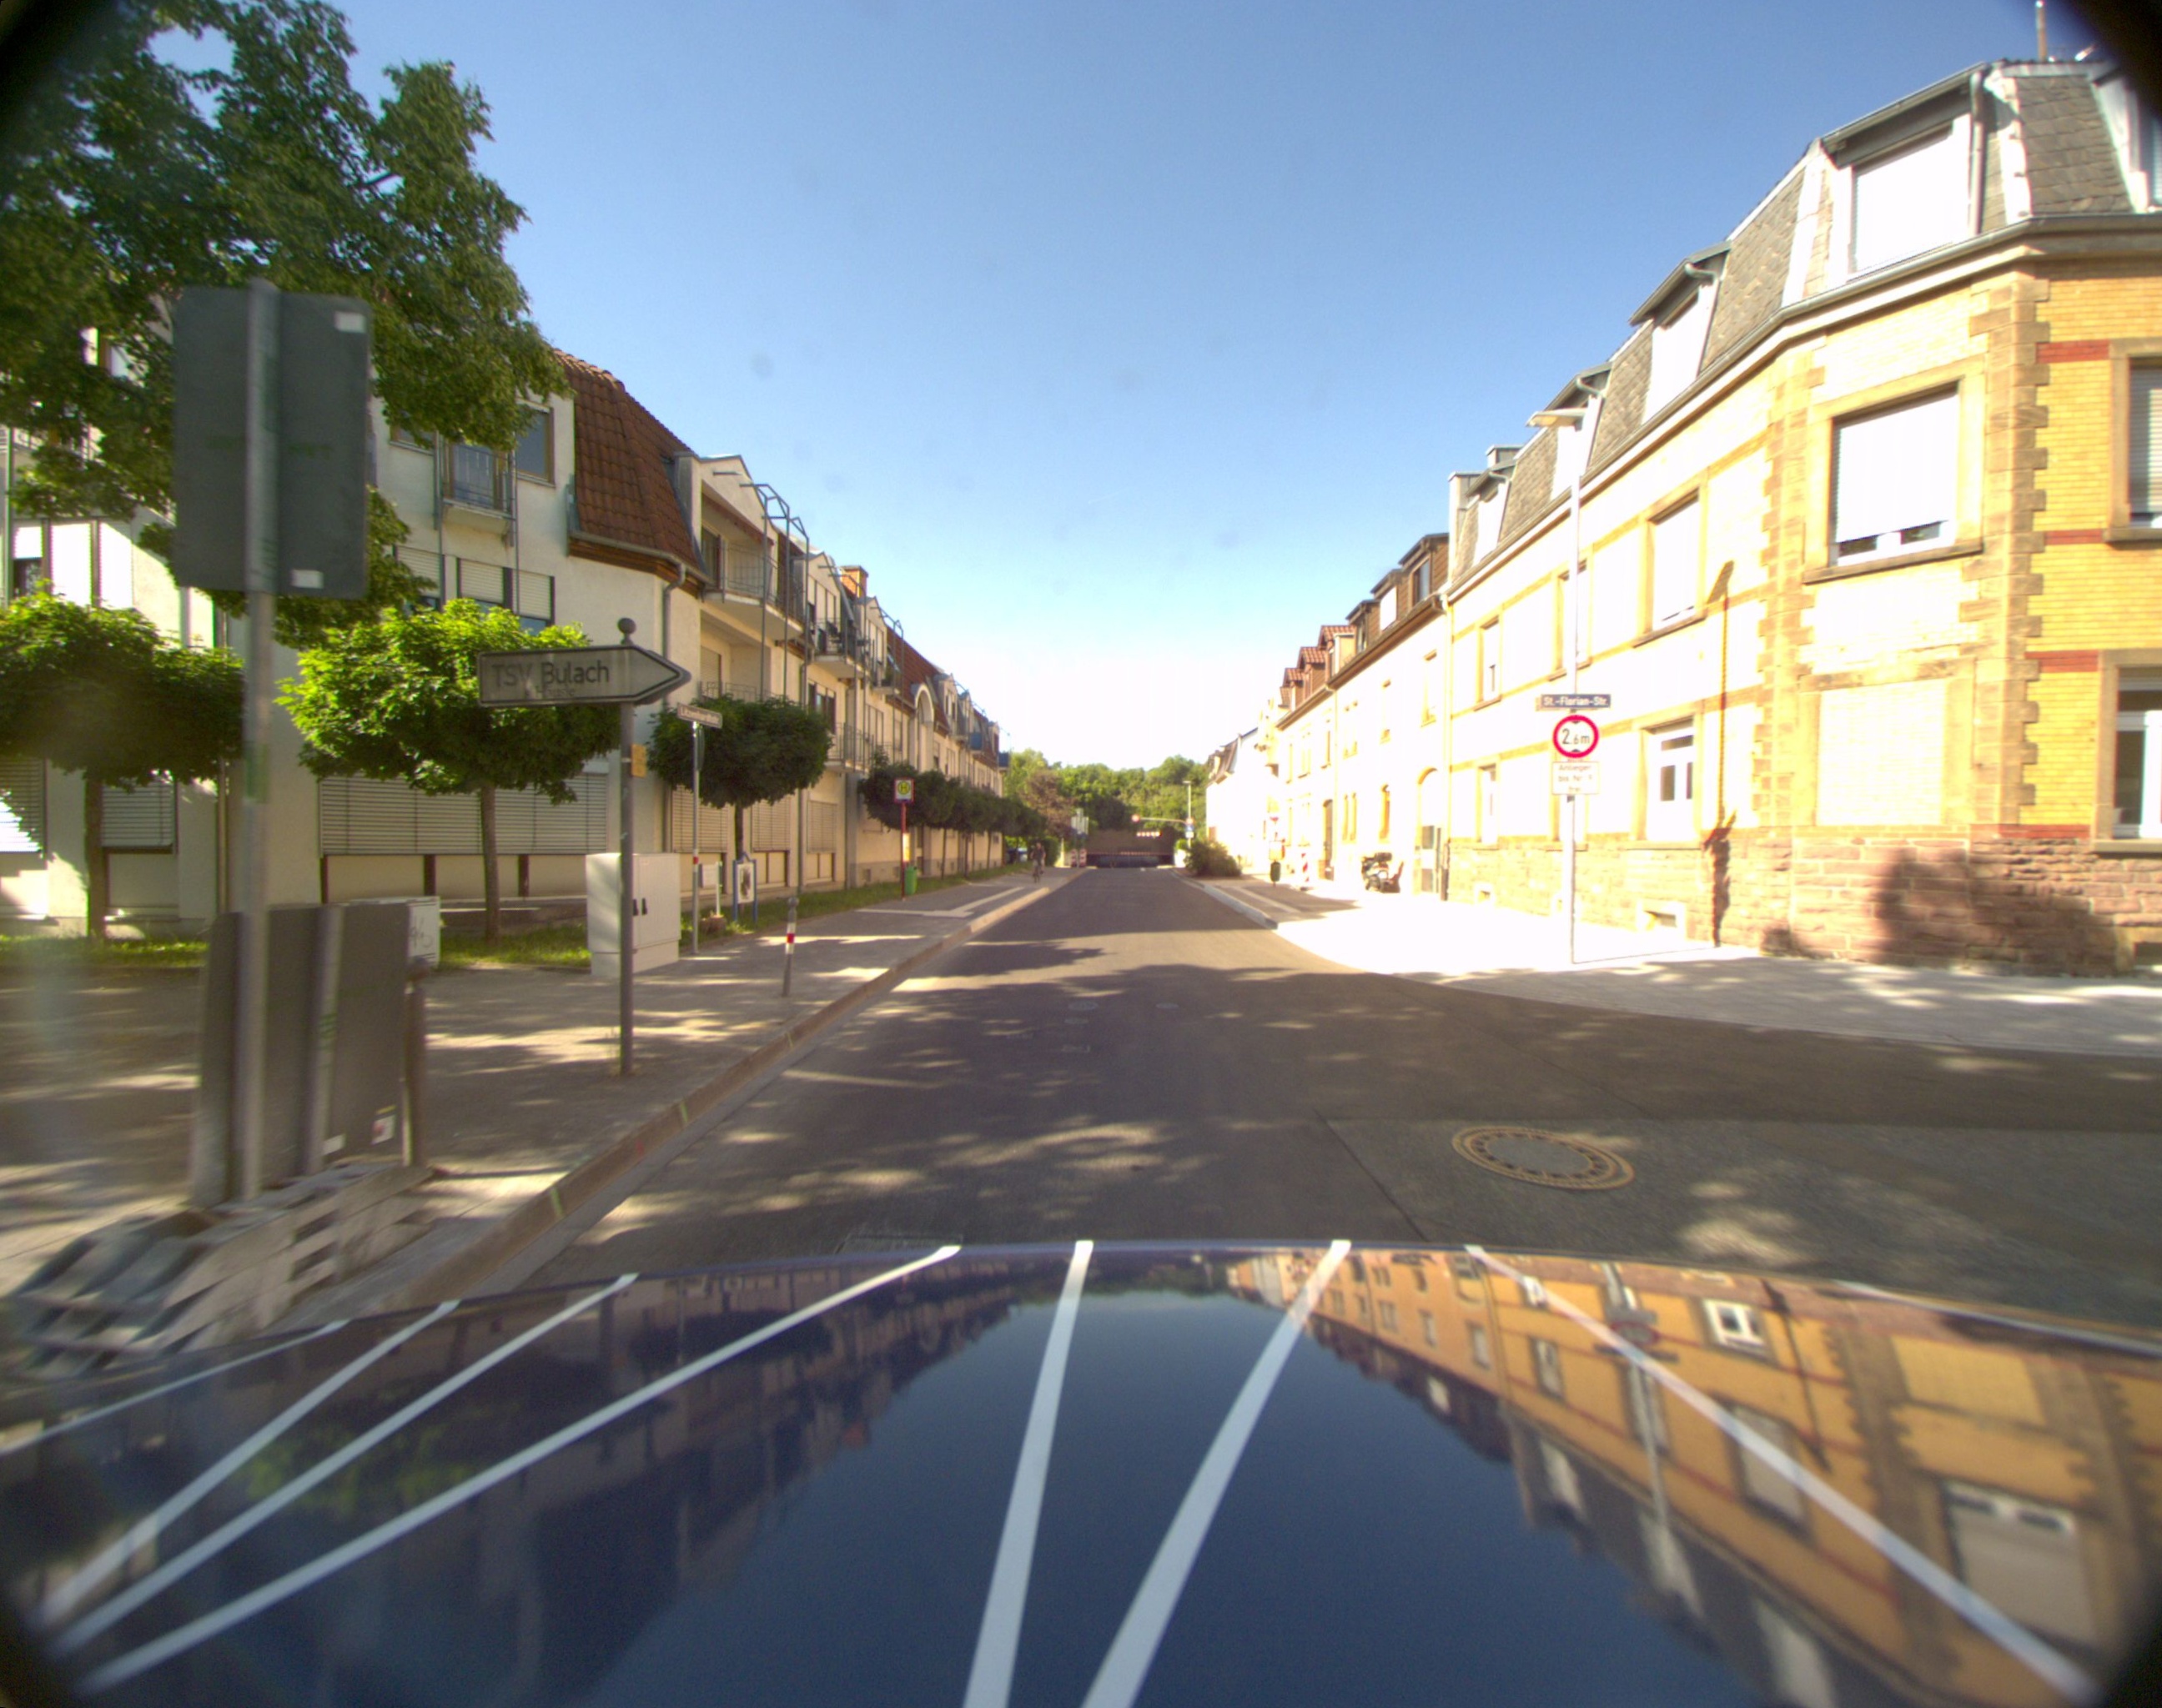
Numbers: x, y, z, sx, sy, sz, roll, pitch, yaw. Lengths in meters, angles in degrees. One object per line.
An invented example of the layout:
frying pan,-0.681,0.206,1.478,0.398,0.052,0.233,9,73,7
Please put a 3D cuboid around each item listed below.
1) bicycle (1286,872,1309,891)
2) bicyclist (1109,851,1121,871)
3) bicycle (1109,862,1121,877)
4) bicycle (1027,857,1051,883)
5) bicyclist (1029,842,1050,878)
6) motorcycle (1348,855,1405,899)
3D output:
bicycle,7.576,0.957,26.566,0.382,0.606,1.344,-1,1,34
bicyclist,3.888,0.779,87.427,1.256,2.295,1.243,-2,1,3
bicycle,3.922,1.726,87.372,1.256,1.543,4.000,-2,1,4
bicycle,-1.829,0.679,33.291,0.668,1.058,1.818,4,1,6
bicyclist,-1.812,0.246,33.258,0.668,1.530,0.914,4,2,6
motorcycle,9.169,0.677,23.667,0.848,1.245,2.257,-2,1,0
